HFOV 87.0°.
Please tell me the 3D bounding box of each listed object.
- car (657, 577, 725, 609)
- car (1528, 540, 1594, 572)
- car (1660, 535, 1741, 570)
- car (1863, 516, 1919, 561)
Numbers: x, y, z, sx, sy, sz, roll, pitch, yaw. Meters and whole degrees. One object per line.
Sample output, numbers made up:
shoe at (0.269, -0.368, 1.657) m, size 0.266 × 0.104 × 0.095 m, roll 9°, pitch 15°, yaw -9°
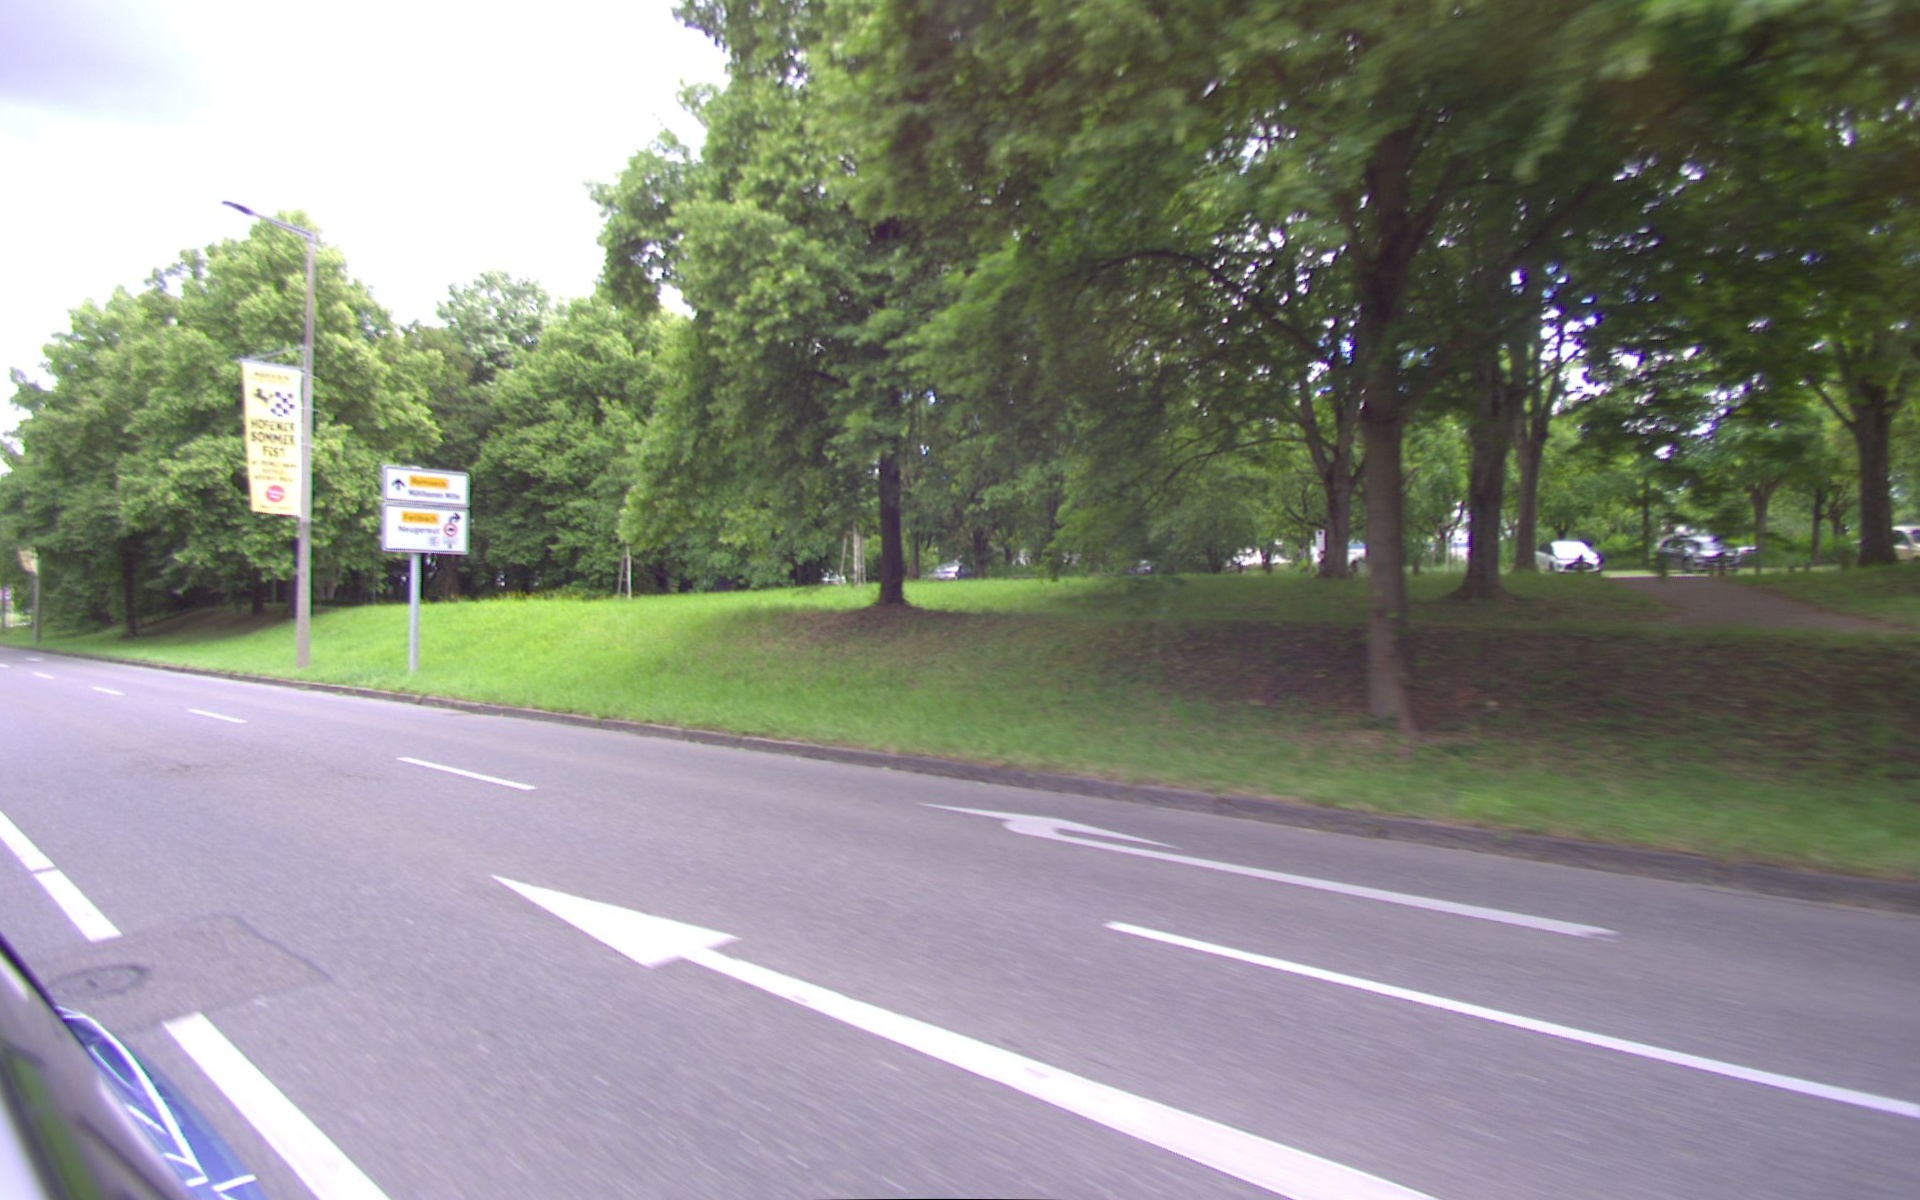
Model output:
car at (-16.445, -0.428, 62.240) m, size 1.980 × 1.910 × 4.884 m, roll -1°, pitch 0°, yaw 13°
car at (25.738, -1.859, 43.424) m, size 1.385 × 1.243 × 3.495 m, roll -1°, pitch 0°, yaw 12°
car at (30.299, -1.916, 41.517) m, size 1.385 × 1.243 × 3.495 m, roll -1°, pitch 0°, yaw 12°
car at (29.101, -1.868, 30.393) m, size 1.385 × 1.219 × 3.495 m, roll -1°, pitch 0°, yaw 12°
